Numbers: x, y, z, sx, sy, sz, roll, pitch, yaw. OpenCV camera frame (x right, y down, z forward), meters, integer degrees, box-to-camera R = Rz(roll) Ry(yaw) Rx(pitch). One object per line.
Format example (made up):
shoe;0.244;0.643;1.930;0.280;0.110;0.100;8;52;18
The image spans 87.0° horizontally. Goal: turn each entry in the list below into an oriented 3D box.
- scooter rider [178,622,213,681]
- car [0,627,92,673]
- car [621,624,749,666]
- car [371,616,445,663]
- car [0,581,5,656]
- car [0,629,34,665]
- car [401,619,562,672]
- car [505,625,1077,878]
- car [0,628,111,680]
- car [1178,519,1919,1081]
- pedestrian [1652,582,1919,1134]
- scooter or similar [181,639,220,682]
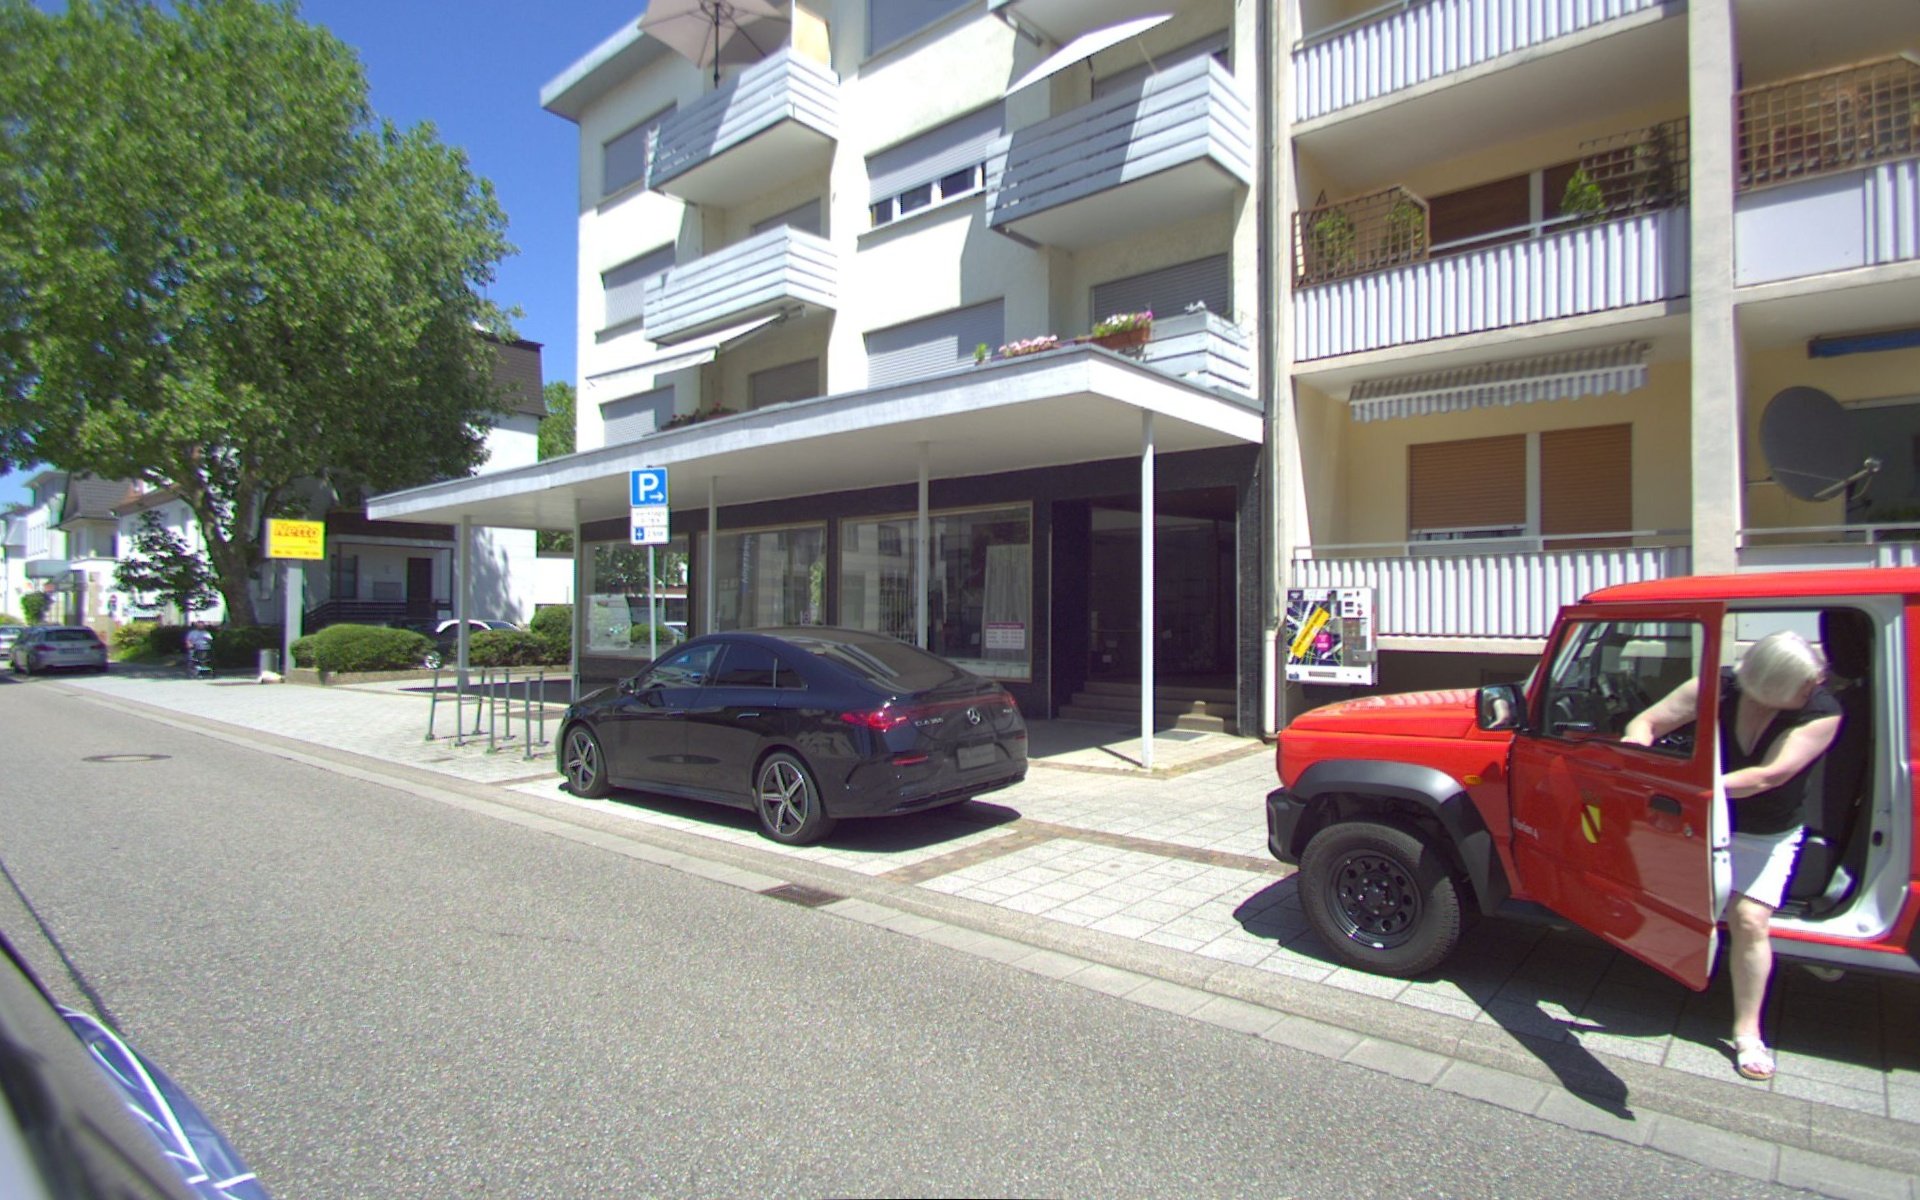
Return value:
scooter rider;-21.130;1.417;27.964;0.877;1.587;0.582;-2;-1;43
car;-32.268;1.717;35.572;4.865;1.463;1.961;-2;-1;41
car;-9.659;1.586;35.620;3.999;1.445;1.767;-1;-3;16
car;-19.678;1.397;36.012;1.782;1.557;4.115;2;-3;-36
car;-27.672;0.873;27.204;7.102;2.650;2.015;-2;-4;40
car;-41.170;1.992;43.189;5.356;1.463;1.960;-2;-1;42
car;-14.043;1.325;29.805;3.953;1.498;1.890;0;-2;11
car;-1.666;0.965;8.365;5.045;1.428;1.876;-2;0;41
car;-28.118;1.627;31.365;5.147;1.463;1.961;-2;-1;41
car;3.144;0.608;4.044;4.099;1.715;1.734;-2;0;41
pedestrian;2.708;0.738;3.284;0.727;1.546;0.718;-2;-2;35
scooter or similar;-20.660;1.634;27.518;1.028;1.106;0.656;-2;-1;43
